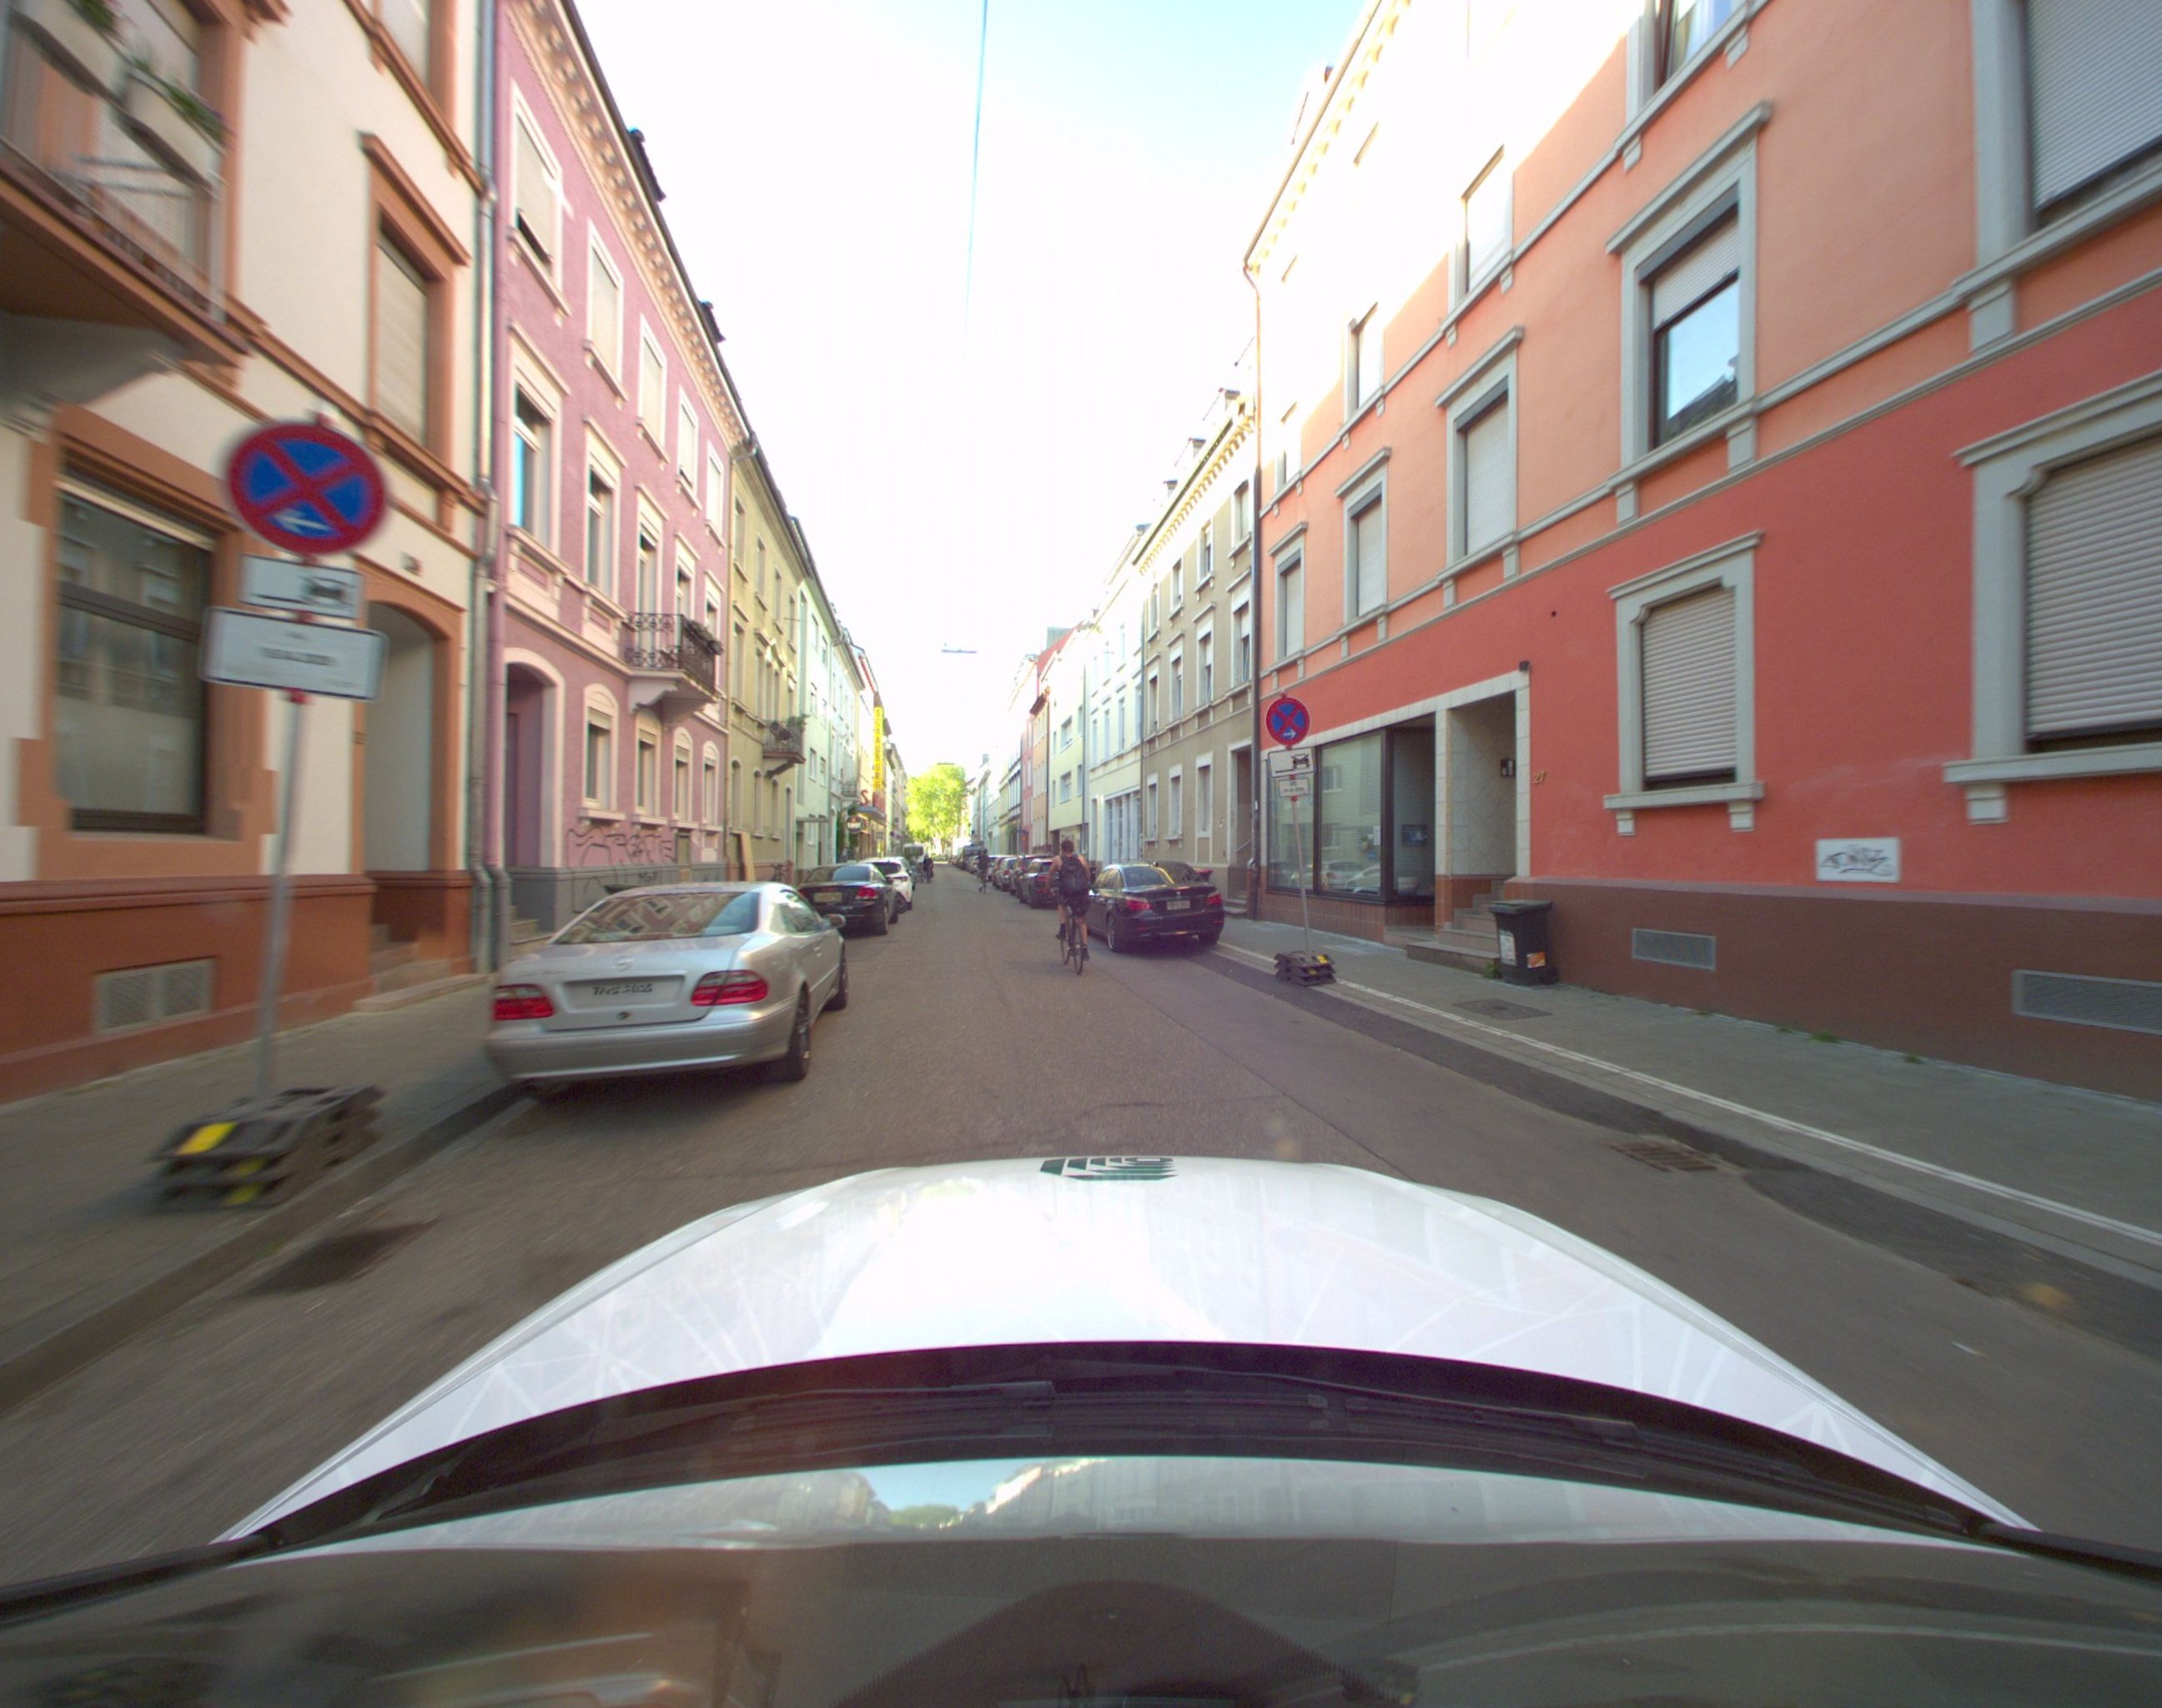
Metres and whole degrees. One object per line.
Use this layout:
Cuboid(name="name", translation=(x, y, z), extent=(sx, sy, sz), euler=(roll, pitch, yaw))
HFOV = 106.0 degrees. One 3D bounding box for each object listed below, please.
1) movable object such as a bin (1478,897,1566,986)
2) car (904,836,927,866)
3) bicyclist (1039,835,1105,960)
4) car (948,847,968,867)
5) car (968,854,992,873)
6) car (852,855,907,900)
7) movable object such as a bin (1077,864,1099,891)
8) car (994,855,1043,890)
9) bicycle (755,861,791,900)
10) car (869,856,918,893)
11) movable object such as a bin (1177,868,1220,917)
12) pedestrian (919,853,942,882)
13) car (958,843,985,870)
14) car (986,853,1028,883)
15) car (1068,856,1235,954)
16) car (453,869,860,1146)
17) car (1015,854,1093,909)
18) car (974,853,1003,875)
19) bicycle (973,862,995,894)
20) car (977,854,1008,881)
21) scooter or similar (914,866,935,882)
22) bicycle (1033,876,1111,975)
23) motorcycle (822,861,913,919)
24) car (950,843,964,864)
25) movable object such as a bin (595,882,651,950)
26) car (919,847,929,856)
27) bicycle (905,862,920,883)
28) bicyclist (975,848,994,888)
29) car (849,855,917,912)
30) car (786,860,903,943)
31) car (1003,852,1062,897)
Cuboid(name="movable object such as a bin", translation=(4.912, 0.957, 9.096), extent=(0.597, 0.906, 0.577), euler=(-2, -1, -12))
Cuboid(name="car", translation=(-14.325, -0.264, 70.343), extent=(1.911, 2.497, 4.147), euler=(-1, 0, -12))
Cuboid(name="bicyclist", translation=(-0.141, 0.584, 11.281), extent=(0.702, 1.633, 1.086), euler=(2, -1, -10))
Cuboid(name="car", translation=(-16.269, 0.428, 107.232), extent=(2.308, 2.538, 6.745), euler=(-2, 0, -10))
Cuboid(name="car", translation=(-8.316, 0.792, 66.973), extent=(1.711, 1.447, 3.985), euler=(-2, 0, -11))
Cuboid(name="car", translation=(-7.195, 0.800, 29.344), extent=(1.672, 1.441, 3.754), euler=(-2, 0, -11))
Cuboid(name="movable object such as a bin", translation=(0.289, 0.973, 34.091), extent=(0.806, 1.075, 0.676), euler=(-3, 0, -6))
Cuboid(name="car", translation=(-2.812, 0.786, 35.970), extent=(1.711, 1.383, 3.985), euler=(-2, 0, -11))
Cuboid(name="bicycle", translation=(-9.139, 0.760, 24.198), extent=(0.592, 1.089, 2.071), euler=(2, -1, -10))
Cuboid(name="car", translation=(-7.903, 0.830, 34.592), extent=(1.671, 1.441, 3.743), euler=(-2, 0, -8))
Cuboid(name="movable object such as a bin", translation=(2.734, 0.874, 18.951), extent=(0.738, 1.075, 0.673), euler=(-2, 0, -17))
Cuboid(name="pedestrian", translation=(-8.264, 0.760, 44.721), extent=(0.763, 1.578, 0.906), euler=(1, -1, 29))
Cuboid(name="car", translation=(-11.159, 0.261, 82.396), extent=(2.308, 2.538, 6.745), euler=(-2, 0, -10))
Cuboid(name="car", translation=(-3.750, 0.680, 40.996), extent=(1.711, 1.383, 3.985), euler=(-2, 0, -11))
Cuboid(name="car", translation=(1.067, 0.796, 14.943), extent=(1.817, 1.438, 4.773), euler=(-2, 0, -11))
Cuboid(name="car", translation=(-2.942, 0.872, 6.777), extent=(1.711, 1.383, 4.489), euler=(-2, 0, -11))
Cuboid(name="car", translation=(-0.913, 0.796, 25.260), extent=(1.817, 1.521, 3.985), euler=(-2, 0, -11))
Cuboid(name="car", translation=(-6.393, 0.677, 55.886), extent=(1.711, 1.393, 3.985), euler=(-2, 0, -11))
Cuboid(name="bicycle", translation=(-3.957, 0.949, 33.052), extent=(0.702, 1.208, 2.333), euler=(0, 0, -11))
Cuboid(name="car", translation=(-5.527, 0.835, 50.517), extent=(1.621, 1.550, 3.985), euler=(-2, 0, -11))
Cuboid(name="scooter or similar", translation=(-8.518, 1.099, 44.300), extent=(0.763, 0.873, 0.775), euler=(1, -1, 29))
Cuboid(name="bicycle", translation=(-0.184, 0.942, 11.510), extent=(0.702, 1.208, 2.334), euler=(2, -1, -10))
Cuboid(name="motorcycle", translation=(-5.506, 0.905, 21.079), extent=(2.159, 1.359, 0.535), euler=(-3, 1, -29))
Cuboid(name="car", translation=(-23.427, -0.090, 153.940), extent=(2.308, 3.767, 6.745), euler=(-2, 0, -10))
Cuboid(name="movable object such as a bin", translation=(-6.684, 0.898, 11.899), extent=(0.543, 0.945, 0.485), euler=(2, -1, -10))
Cuboid(name="car", translation=(-26.457, -0.369, 137.223), extent=(1.672, 1.441, 4.150), euler=(-2, 0, -11))
Cuboid(name="bicycle", translation=(-9.442, 1.019, 45.532), extent=(0.700, 1.105, 2.263), euler=(2, -1, -14))
Cuboid(name="bicyclist", translation=(-3.920, 0.551, 32.982), extent=(0.702, 1.605, 0.809), euler=(0, 0, -11))
Cuboid(name="car", translation=(-5.701, 0.804, 23.832), extent=(1.672, 1.441, 4.150), euler=(-2, 0, -11))
Cuboid(name="car", translation=(-4.704, 0.862, 16.775), extent=(1.710, 1.383, 4.343), euler=(0, 1, -8))
Cuboid(name="car", translation=(-1.919, 0.738, 30.937), extent=(1.711, 1.556, 3.985), euler=(-2, 0, -11))
